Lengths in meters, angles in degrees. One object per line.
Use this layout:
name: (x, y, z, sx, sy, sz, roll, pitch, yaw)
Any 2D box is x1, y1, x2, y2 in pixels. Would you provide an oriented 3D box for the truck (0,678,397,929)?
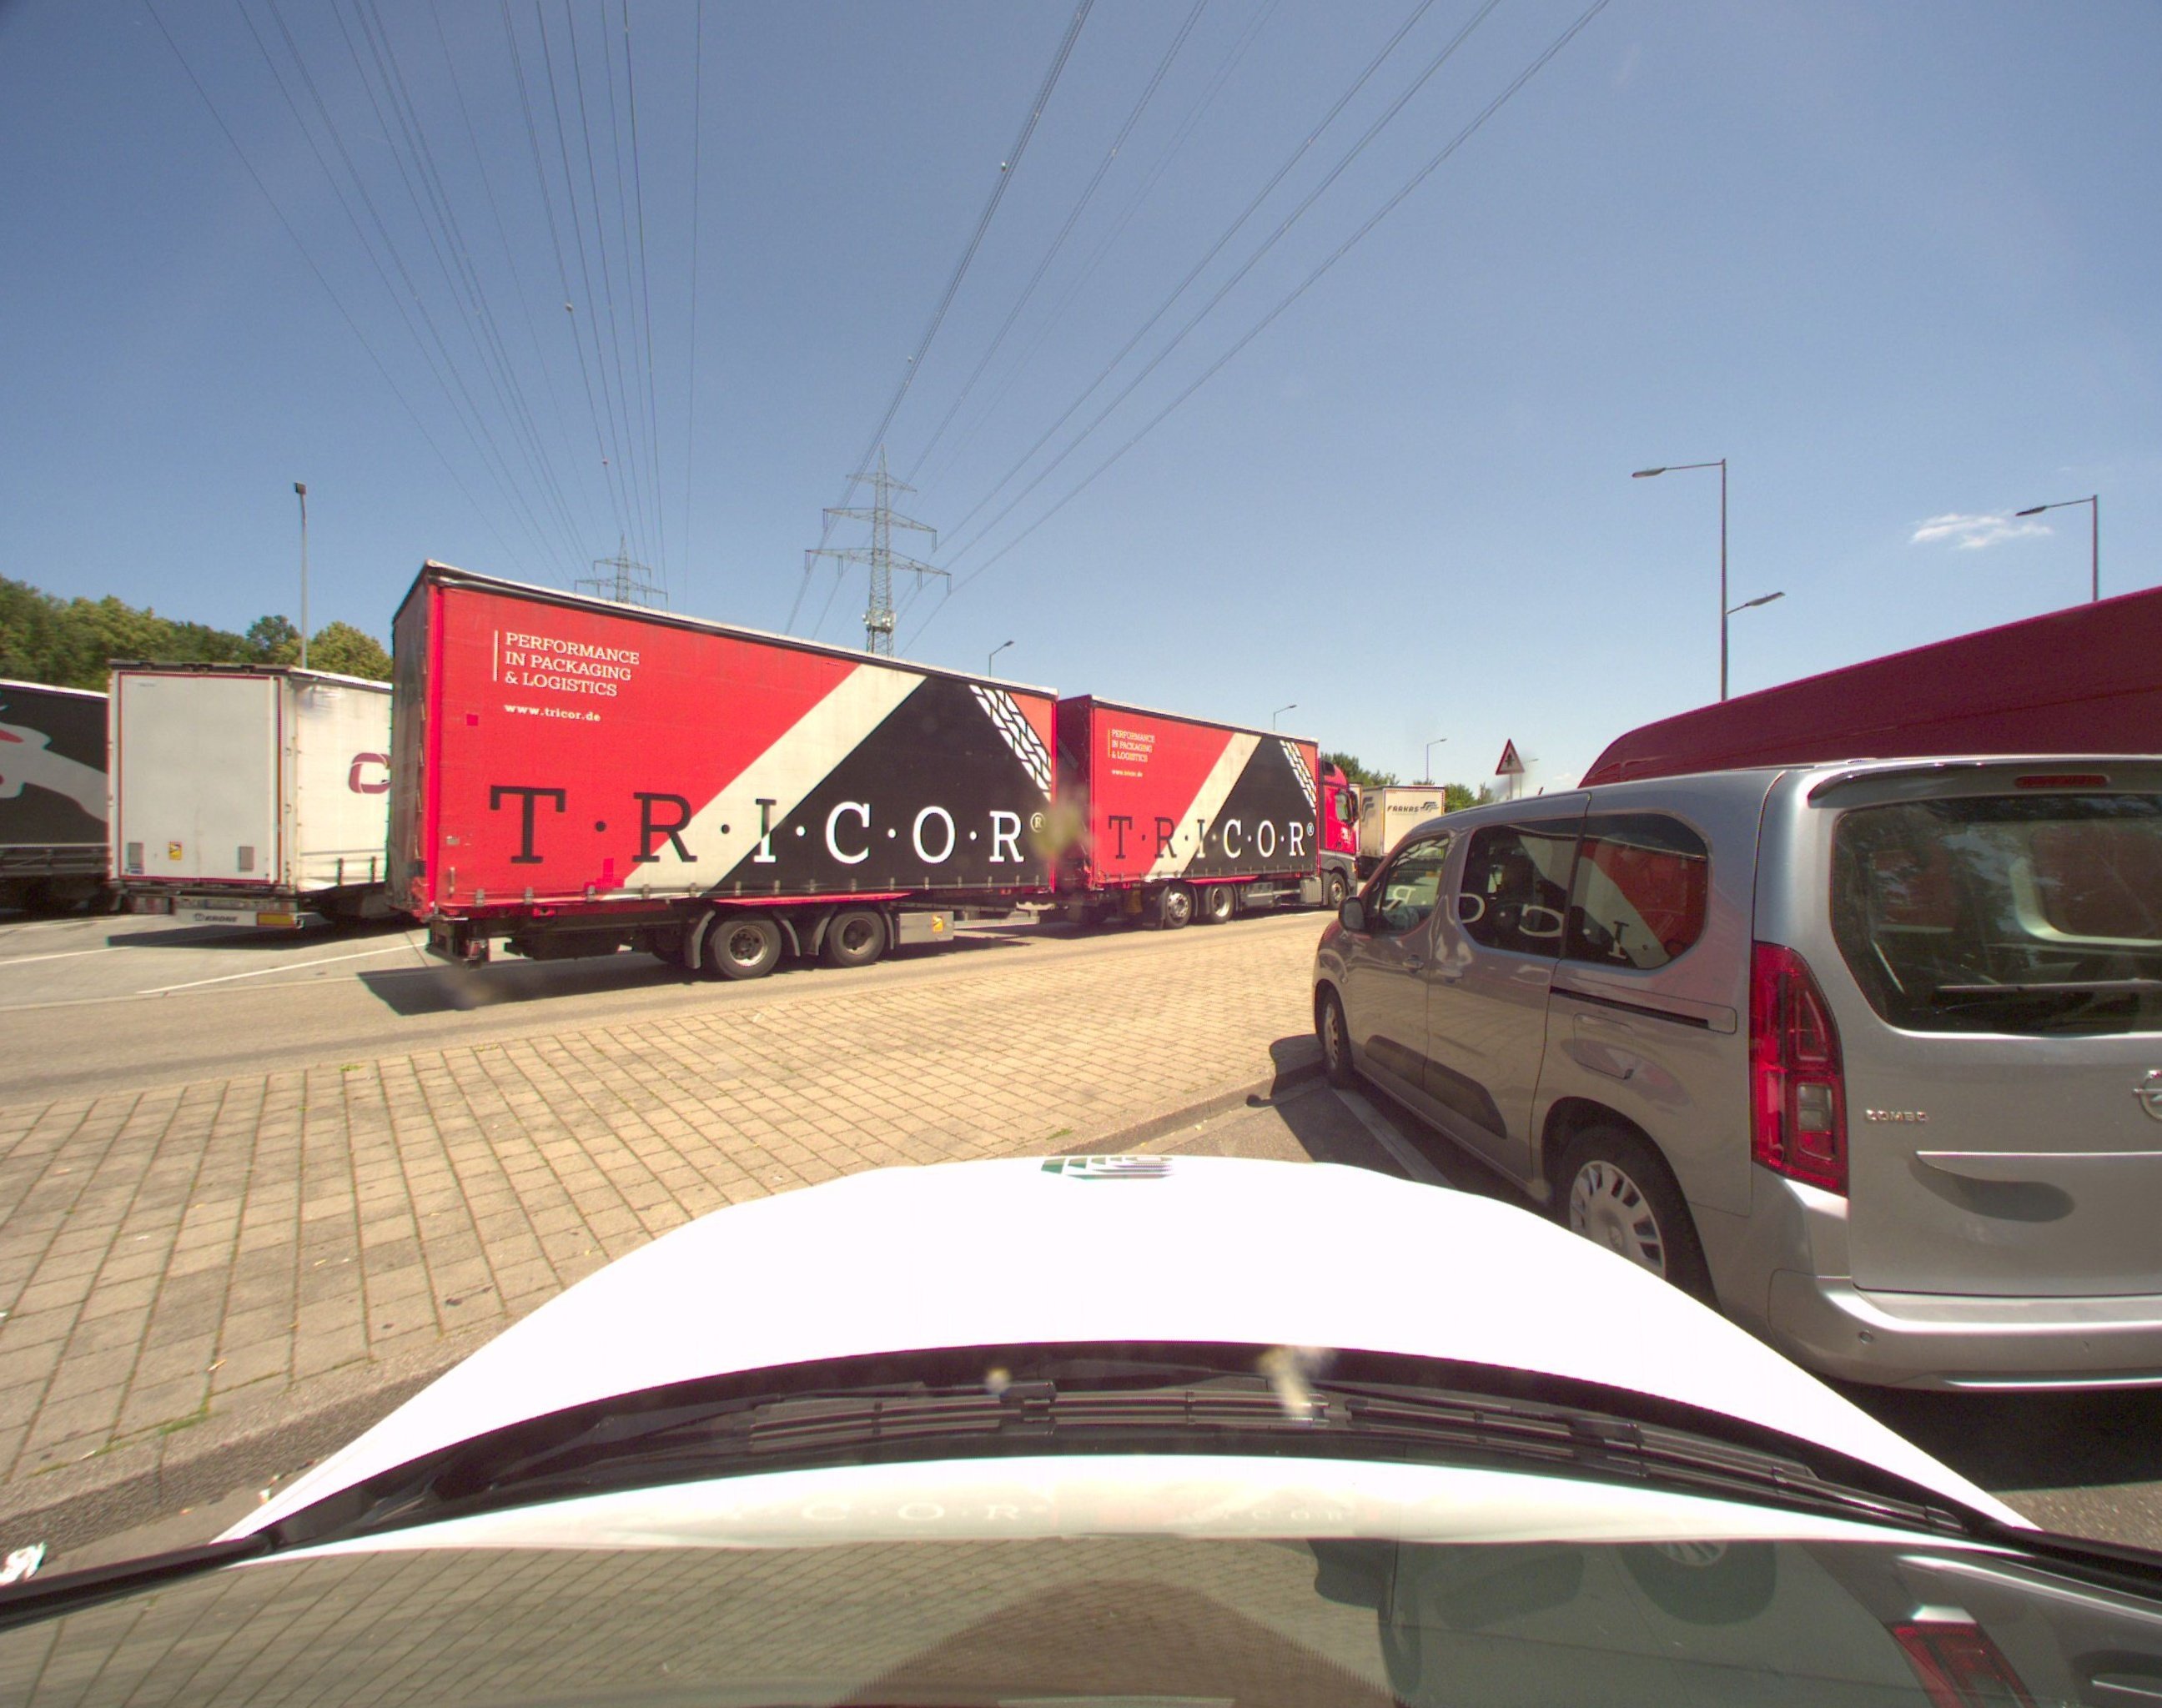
truck: (-18.506, -0.847, 15.952, 2.627, 4.018, 8.640, -1, 1, 2)

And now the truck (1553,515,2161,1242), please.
truck: (5.102, 0.050, 4.851, 1.983, 2.623, 5.312, -1, 1, 6)

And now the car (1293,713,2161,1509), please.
car: (2.472, 0.530, 3.830, 1.821, 1.753, 3.998, -1, 1, -2)

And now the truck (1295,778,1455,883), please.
truck: (13.588, -1.057, 39.629, 2.894, 4.124, 14.533, 2, 1, 2)

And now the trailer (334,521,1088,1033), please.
trailer: (-3.945, -0.698, 10.893, 2.807, 4.257, 8.737, 0, 0, 44)

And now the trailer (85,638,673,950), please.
trailer: (-12.094, -0.889, 16.056, 2.734, 4.263, 9.740, -1, 1, 3)

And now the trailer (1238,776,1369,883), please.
trailer: (9.953, -1.065, 38.387, 2.865, 4.124, 13.577, 0, 1, 2)

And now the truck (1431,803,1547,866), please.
truck: (24.479, -1.132, 49.408, 3.013, 3.437, 8.534, -1, 1, 2)

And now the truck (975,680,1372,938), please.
truck: (2.729, -0.808, 17.770, 2.660, 4.127, 10.669, 0, 1, 44)
